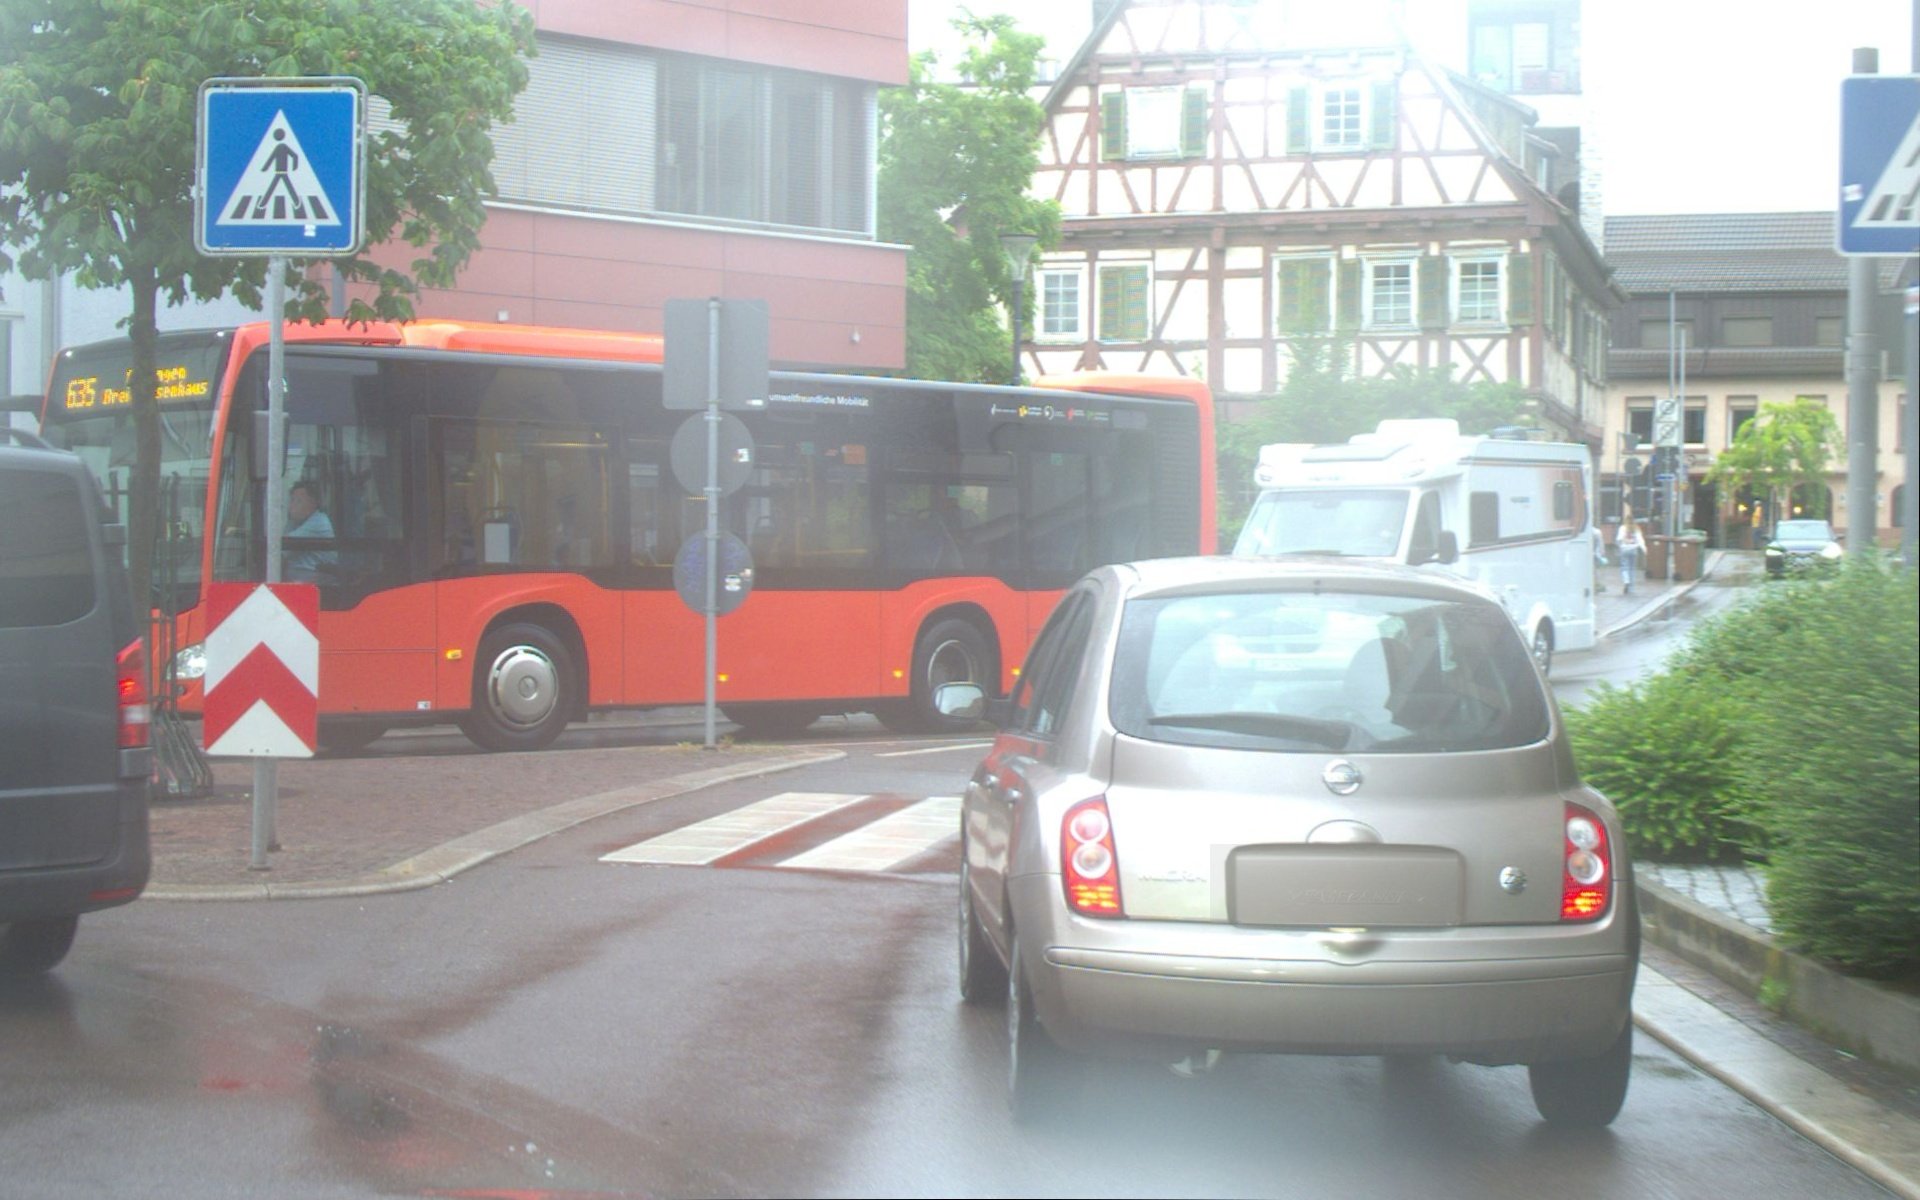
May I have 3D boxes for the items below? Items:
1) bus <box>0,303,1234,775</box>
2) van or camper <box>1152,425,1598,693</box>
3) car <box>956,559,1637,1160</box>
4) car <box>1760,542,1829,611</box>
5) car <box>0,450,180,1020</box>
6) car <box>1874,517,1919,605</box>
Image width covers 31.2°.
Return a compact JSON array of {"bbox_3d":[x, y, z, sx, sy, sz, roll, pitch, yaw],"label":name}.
[{"bbox_3d":[-2.304,-0.542,27.182,2.820,3.078,10.581,3,3,44],"label":"bus"},{"bbox_3d":[4.583,-0.434,36.666,2.441,2.577,6.740,1,1,28],"label":"van or camper"},{"bbox_3d":[0.837,0.624,10.211,1.522,1.466,3.342,0,1,-3],"label":"car"},{"bbox_3d":[21.194,-0.596,87.251,1.587,1.707,3.318,1,0,16],"label":"car"},{"bbox_3d":[-4.757,0.347,12.291,1.947,1.774,4.725,0,2,-39],"label":"car"},{"bbox_3d":[19.142,-0.772,68.416,1.676,1.707,3.318,1,0,18],"label":"car"}]
